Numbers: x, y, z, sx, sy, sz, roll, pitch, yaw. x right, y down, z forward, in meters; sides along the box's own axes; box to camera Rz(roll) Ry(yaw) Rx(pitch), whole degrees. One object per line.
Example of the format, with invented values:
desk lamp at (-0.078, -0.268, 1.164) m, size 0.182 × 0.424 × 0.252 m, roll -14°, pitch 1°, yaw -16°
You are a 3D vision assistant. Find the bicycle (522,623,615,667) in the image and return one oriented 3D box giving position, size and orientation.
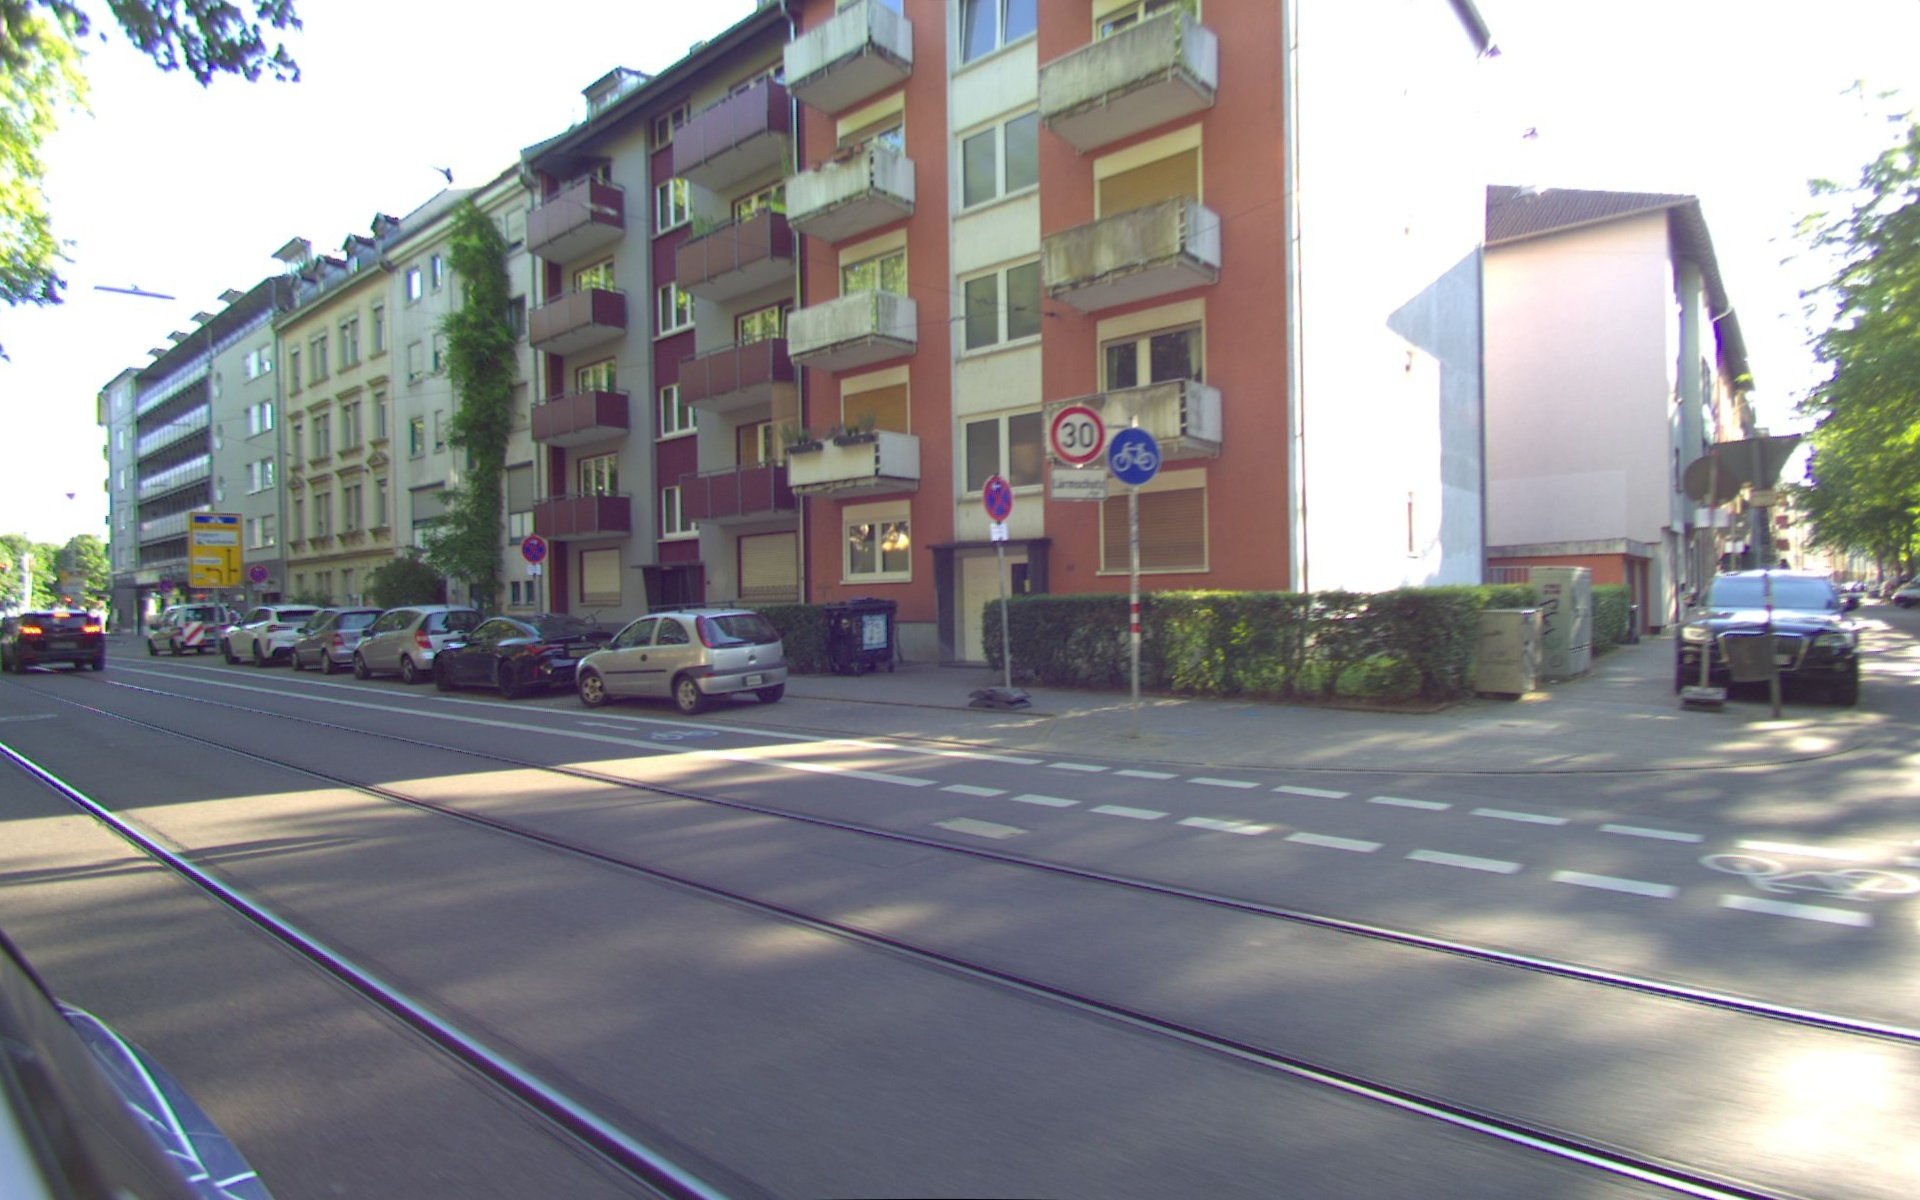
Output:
bicycle at (-10.555, 1.192, 27.372) m, size 0.698 × 1.000 × 2.268 m, roll -2°, pitch 2°, yaw 38°

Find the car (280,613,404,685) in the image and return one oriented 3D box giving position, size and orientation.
car at (-15.539, 1.163, 25.373) m, size 3.780 × 1.583 × 1.609 m, roll -1°, pitch 2°, yaw 42°

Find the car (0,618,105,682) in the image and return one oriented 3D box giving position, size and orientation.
car at (-24.963, 1.307, 27.685) m, size 4.463 × 1.612 × 1.833 m, roll -1°, pitch -1°, yaw 42°

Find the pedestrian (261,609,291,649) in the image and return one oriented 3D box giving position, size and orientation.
pedestrian at (-32.889, 1.384, 48.649) m, size 0.729 × 1.827 × 0.953 m, roll -2°, pitch 1°, yaw 42°

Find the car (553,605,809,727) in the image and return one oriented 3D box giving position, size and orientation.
car at (-4.231, 0.897, 15.093) m, size 3.927 × 1.494 × 1.708 m, roll -1°, pitch 2°, yaw 40°

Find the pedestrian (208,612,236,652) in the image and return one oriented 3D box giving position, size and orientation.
pedestrian at (-34.944, 1.507, 47.949) m, size 0.735 × 1.798 × 0.856 m, roll -2°, pitch 1°, yaw 39°

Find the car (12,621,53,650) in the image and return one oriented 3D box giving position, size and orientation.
car at (-57.520, 2.147, 62.817) m, size 1.774 × 1.456 × 4.724 m, roll 1°, pitch 2°, yaw -41°

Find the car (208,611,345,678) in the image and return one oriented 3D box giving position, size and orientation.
car at (-19.545, 1.209, 28.866) m, size 4.877 × 1.661 × 1.933 m, roll -1°, pitch 2°, yaw 40°

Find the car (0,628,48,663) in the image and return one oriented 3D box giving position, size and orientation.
car at (-41.702, 1.989, 44.625) m, size 4.051 × 1.457 × 1.777 m, roll -2°, pitch -2°, yaw 41°

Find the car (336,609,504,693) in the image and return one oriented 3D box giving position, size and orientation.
car at (-11.882, 1.069, 22.177) m, size 4.001 × 1.598 × 1.802 m, roll -2°, pitch 1°, yaw 39°

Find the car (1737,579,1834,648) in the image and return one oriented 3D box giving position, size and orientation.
car at (22.534, 0.306, 27.566) m, size 1.915 × 1.736 × 4.263 m, roll 0°, pitch 1°, yaw 41°

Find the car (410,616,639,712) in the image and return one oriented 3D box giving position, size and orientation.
car at (-8.088, 1.081, 18.564) m, size 4.861 × 1.405 × 1.932 m, roll -1°, pitch 2°, yaw 42°

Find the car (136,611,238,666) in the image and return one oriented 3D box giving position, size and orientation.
car at (-27.754, 1.354, 36.284) m, size 4.464 × 1.784 × 1.772 m, roll -2°, pitch 1°, yaw 38°

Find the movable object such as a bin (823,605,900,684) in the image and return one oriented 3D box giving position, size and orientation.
movable object such as a bin at (-1.780, 0.783, 18.336) m, size 0.747 × 1.375 × 1.198 m, roll -1°, pitch -1°, yaw 42°

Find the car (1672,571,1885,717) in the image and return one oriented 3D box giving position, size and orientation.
car at (10.989, 0.458, 13.558) m, size 1.937 × 1.618 × 4.486 m, roll 0°, pitch 1°, yaw 41°

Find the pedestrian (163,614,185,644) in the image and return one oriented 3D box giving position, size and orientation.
pedestrian at (-46.654, 1.702, 60.091) m, size 0.819 × 1.726 × 0.779 m, roll -2°, pitch 2°, yaw 40°

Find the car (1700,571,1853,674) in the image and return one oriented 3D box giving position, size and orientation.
car at (14.644, 0.322, 18.111) m, size 1.937 × 1.618 × 4.263 m, roll 0°, pitch 1°, yaw 41°
